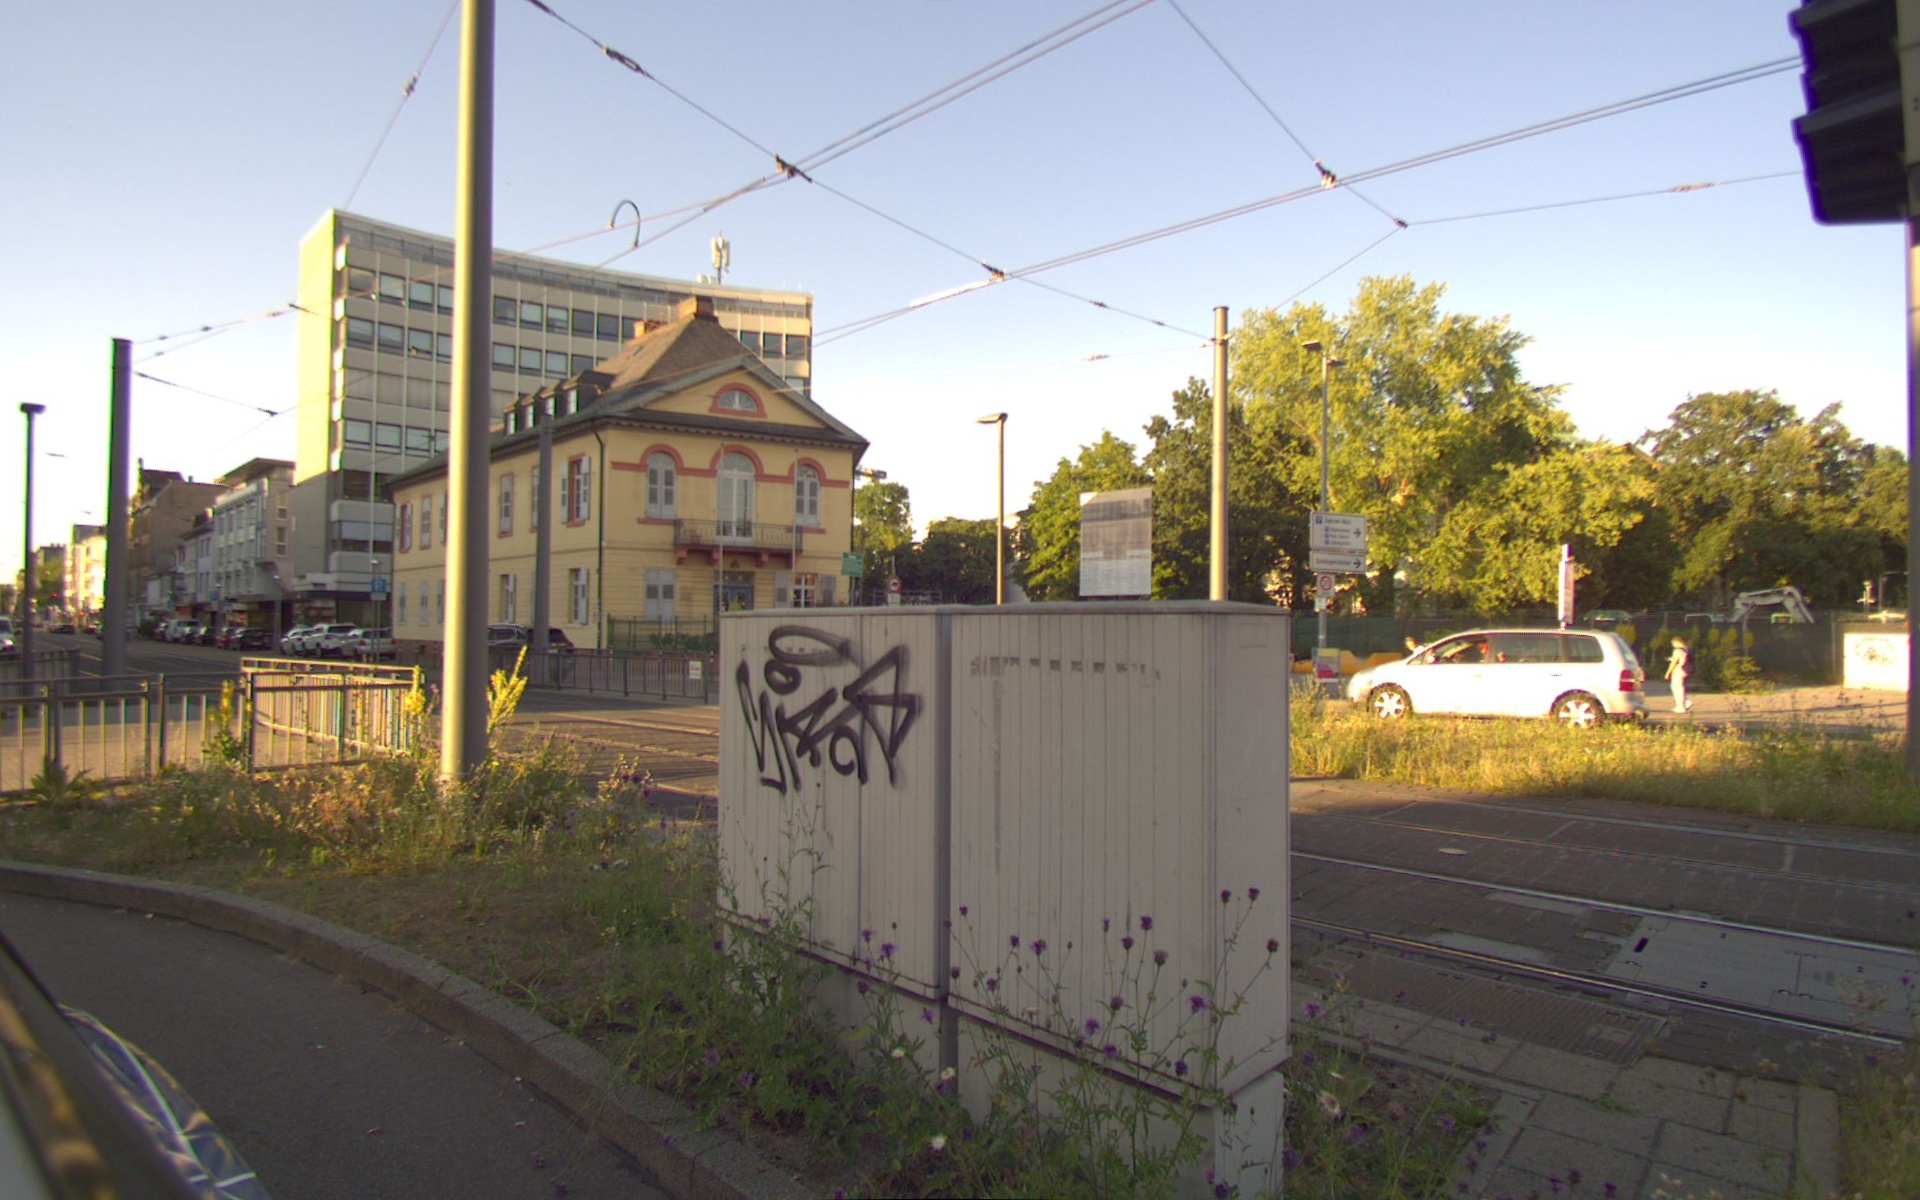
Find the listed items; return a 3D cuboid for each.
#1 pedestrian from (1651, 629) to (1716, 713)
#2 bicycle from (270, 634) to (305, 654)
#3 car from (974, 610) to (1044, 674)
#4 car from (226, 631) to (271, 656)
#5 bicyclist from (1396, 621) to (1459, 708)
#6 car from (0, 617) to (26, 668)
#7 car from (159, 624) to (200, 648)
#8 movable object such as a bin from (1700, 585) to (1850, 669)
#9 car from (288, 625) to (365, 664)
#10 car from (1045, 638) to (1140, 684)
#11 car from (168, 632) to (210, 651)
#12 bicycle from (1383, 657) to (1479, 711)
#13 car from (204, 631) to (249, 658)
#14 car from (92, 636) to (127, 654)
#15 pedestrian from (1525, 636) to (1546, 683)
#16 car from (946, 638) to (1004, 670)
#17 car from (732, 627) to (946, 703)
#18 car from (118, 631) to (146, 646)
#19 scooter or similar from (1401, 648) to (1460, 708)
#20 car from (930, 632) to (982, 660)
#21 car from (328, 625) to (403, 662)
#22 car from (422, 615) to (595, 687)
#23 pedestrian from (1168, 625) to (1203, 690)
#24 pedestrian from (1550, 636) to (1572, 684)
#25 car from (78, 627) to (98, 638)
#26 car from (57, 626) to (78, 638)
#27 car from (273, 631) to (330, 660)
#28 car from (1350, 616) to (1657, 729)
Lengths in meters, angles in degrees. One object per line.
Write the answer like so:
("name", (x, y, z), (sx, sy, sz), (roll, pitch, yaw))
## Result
("pedestrian", (16.776, 1.628, 23.475), (0.871, 1.882, 0.978), (2, -3, -37))
("bicycle", (-48.879, 3.227, 73.521), (0.834, 1.436, 1.946), (-2, -4, 43))
("car", (2.067, 1.864, 44.859), (2.065, 2.650, 5.435), (1, -2, -8))
("car", (-45.343, 2.752, 64.432), (1.666, 1.523, 4.217), (2, -3, -44))
("bicyclist", (9.445, 1.295, 20.441), (0.980, 1.701, 0.655), (-2, -3, 44))
("car", (-36.491, 1.577, 37.899), (4.001, 1.830, 1.971), (-2, -3, 44))
("car", (-65.694, 3.039, 85.158), (5.164, 1.992, 1.933), (-2, -4, 44))
("movable object such as a bin", (33.681, 1.133, 41.958), (1.966, 3.254, 4.357), (2, -2, -31))
("car", (-31.333, 2.180, 50.034), (4.491, 1.799, 1.795), (-2, 0, 38))
("car", (4.492, 2.055, 34.924), (1.967, 1.497, 4.010), (1, -2, -13))
("car", (-60.599, 3.238, 79.482), (4.560, 1.477, 1.971), (-2, -2, 44))
("bicycle", (9.481, 1.674, 20.406), (1.623, 1.016, 0.659), (-2, -3, 43))
("car", (-49.202, 2.977, 67.872), (1.667, 1.523, 4.217), (13, -10, -43))
("car", (-76.015, 3.997, 90.414), (4.032, 1.523, 1.717), (-2, -3, 40))
("pedestrian", (20.817, 2.149, 36.635), (0.597, 1.671, 0.531), (-1, -3, 26))
("car", (0.684, 2.662, 50.617), (1.967, 1.497, 4.104), (1, -2, -13))
("car", (-2.796, 1.430, 23.278), (4.562, 1.597, 1.983), (-1, -3, 26))
("car", (-89.801, 4.123, 109.735), (1.970, 1.556, 4.882), (1, -2, -44))
("scooter or similar", (11.783, 1.947, 25.346), (1.236, 1.457, 0.518), (1, -2, -8))
("car", (-0.287, 2.490, 55.212), (1.967, 1.497, 4.104), (1, -2, -13))
("car", (-27.391, 2.000, 46.558), (4.214, 1.629, 1.793), (-2, -3, 43))
("car", (-13.003, 1.428, 29.135), (4.787, 1.916, 1.982), (-1, -3, 27))
("pedestrian", (6.770, 1.711, 30.402), (0.717, 1.907, 0.768), (1, -2, -21))
("pedestrian", (21.084, 2.101, 35.510), (0.599, 1.671, 0.529), (-1, -3, 37))
("car", (-128.189, 4.730, 148.757), (1.971, 1.564, 4.002), (2, -3, -45))
("car", (-119.509, 4.343, 135.495), (1.970, 1.564, 4.003), (2, -3, -44))
("car", (-35.595, 2.453, 54.642), (1.791, 1.523, 4.436), (3, -3, -43))
("car", (8.754, 1.104, 16.461), (4.109, 1.597, 1.973), (-1, -3, 40))
